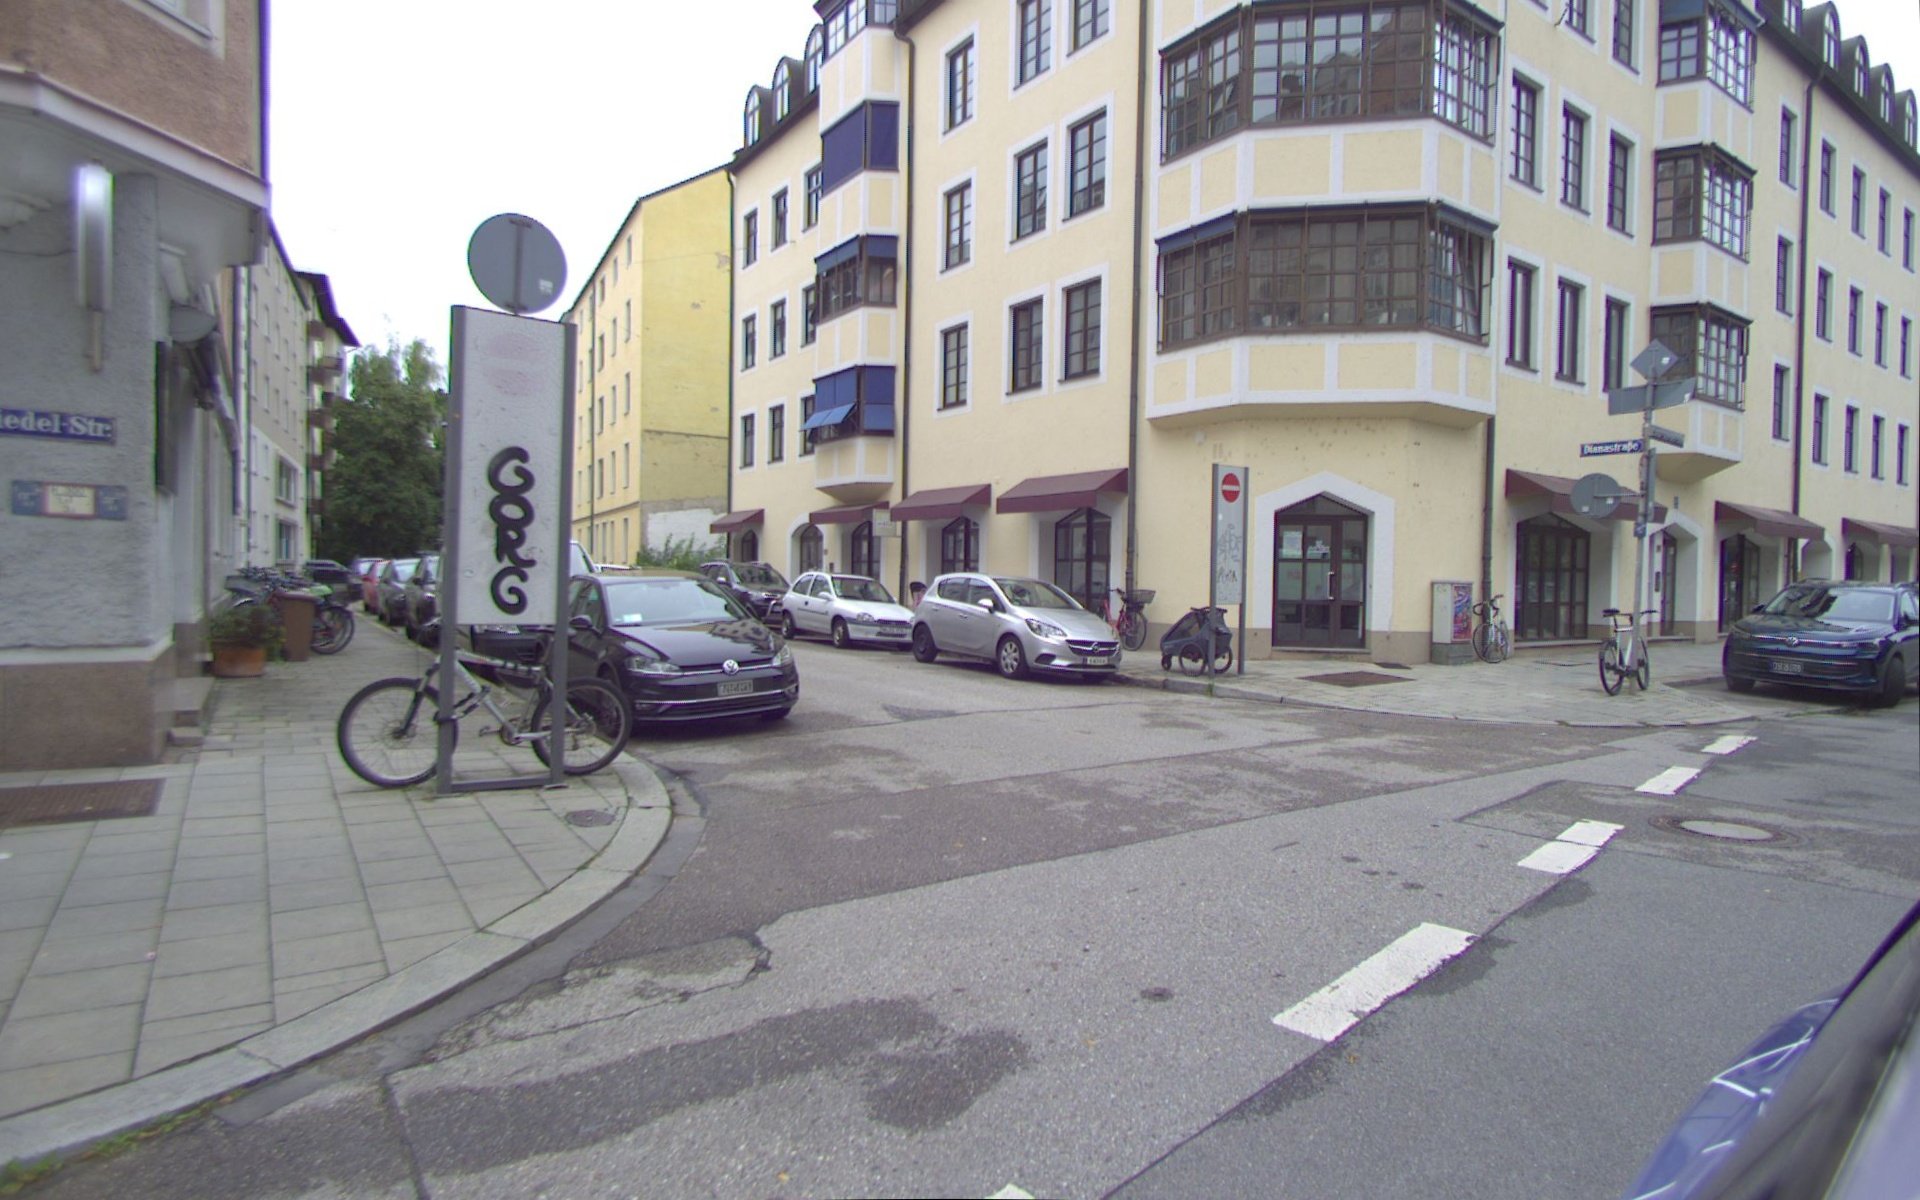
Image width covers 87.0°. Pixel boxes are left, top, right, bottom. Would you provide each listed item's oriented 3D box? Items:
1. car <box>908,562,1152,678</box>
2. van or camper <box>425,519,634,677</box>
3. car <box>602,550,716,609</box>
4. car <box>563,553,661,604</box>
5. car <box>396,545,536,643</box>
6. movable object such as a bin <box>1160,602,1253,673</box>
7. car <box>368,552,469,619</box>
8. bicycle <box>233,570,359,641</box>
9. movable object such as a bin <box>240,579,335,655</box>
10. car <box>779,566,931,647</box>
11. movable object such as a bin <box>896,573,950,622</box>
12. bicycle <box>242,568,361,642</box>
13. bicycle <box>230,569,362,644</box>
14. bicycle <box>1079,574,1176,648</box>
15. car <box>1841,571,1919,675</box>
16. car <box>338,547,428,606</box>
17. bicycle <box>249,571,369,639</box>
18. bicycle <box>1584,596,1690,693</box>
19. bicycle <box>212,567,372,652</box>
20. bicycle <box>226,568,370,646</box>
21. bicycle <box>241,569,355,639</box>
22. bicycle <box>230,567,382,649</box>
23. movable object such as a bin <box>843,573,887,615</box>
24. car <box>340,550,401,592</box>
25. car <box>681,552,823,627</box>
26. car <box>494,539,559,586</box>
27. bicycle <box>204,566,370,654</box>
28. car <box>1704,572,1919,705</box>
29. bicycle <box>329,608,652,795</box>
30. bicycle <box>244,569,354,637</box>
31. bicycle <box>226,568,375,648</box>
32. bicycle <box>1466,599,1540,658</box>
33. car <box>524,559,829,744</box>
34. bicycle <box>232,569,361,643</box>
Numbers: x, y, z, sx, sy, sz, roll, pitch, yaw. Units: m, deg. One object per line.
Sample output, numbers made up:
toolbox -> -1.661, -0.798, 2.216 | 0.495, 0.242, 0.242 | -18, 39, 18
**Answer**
car -> 0.914, 0.234, 15.166 | 1.717, 1.458, 3.751 | 3, 1, -32
van or camper -> -6.554, -0.147, 15.045 | 1.924, 1.942, 4.918 | -2, 3, -34
car -> -8.904, -0.624, 29.699 | 1.941, 1.587, 4.432 | 0, 2, -35
car -> -11.592, -0.740, 33.533 | 1.941, 1.587, 4.432 | 0, 2, -35
car -> -9.604, -0.207, 19.521 | 1.940, 1.664, 4.000 | -1, 3, -33
movable object such as a bin -> 3.505, 0.512, 14.441 | 0.671, 0.911, 1.127 | 0, 3, -35
car -> -13.816, -0.394, 25.683 | 1.940, 1.522, 4.673 | 0, 1, -32
bicycle -> -11.327, 0.071, 17.313 | 0.415, 1.157, 1.776 | 2, 2, 37
movable object such as a bin -> -9.099, 0.222, 13.686 | 0.952, 0.962, 0.733 | 1, 2, -43
car -> -2.140, 0.065, 19.795 | 1.607, 1.353, 3.460 | -1, 3, -32
movable object such as a bin -> -0.872, -0.064, 23.750 | 0.753, 1.094, 1.127 | 0, 2, -35
bicycle -> -11.919, 0.058, 18.365 | 0.415, 1.275, 1.776 | 2, 2, 37
bicycle -> -10.819, 0.080, 16.544 | 0.415, 1.157, 1.776 | 2, 2, 37
bicycle -> 2.958, 0.168, 18.045 | 0.505, 1.201, 1.907 | 0, 2, -35
car -> 17.324, 0.389, 17.587 | 4.082, 1.607, 1.822 | -1, 6, -32
car -> -17.260, -0.747, 30.170 | 1.941, 1.587, 4.673 | -1, 3, -34
bicycle -> -11.545, 0.062, 17.997 | 0.415, 1.157, 1.776 | 2, 2, 37
bicycle -> 9.051, 0.556, 13.495 | 2.014, 1.173, 0.431 | -1, 3, -35
bicycle -> -9.666, 0.102, 14.719 | 0.472, 1.157, 1.903 | 2, 2, 37
bicycle -> -10.474, 0.085, 16.081 | 0.415, 1.157, 1.903 | 2, 2, 37
bicycle -> -12.543, 0.048, 19.216 | 0.415, 1.275, 1.776 | 2, 2, 37
bicycle -> -9.850, 0.094, 15.313 | 0.415, 1.157, 1.903 | 2, 2, 37
movable object such as a bin -> -2.453, -0.154, 26.022 | 0.671, 1.026, 1.127 | 0, 2, -35
car -> -23.958, -1.209, 41.056 | 1.940, 1.587, 4.674 | 0, 3, -33
car -> -4.999, -0.315, 23.918 | 1.946, 1.603, 4.032 | -1, 2, -33
car -> -19.353, -1.666, 45.080 | 2.025, 2.003, 4.436 | 0, 2, -32
bicycle -> -9.403, 0.108, 14.221 | 0.472, 1.157, 1.903 | 2, 2, 37
car -> 12.991, 0.447, 14.811 | 4.412, 1.642, 2.113 | 0, 2, -36
bicycle -> -2.922, 0.591, 6.390 | 1.768, 1.017, 0.497 | 1, 3, -34
bicycle -> -12.922, 0.040, 19.844 | 0.415, 1.275, 1.776 | 2, 2, 37
bicycle -> -10.148, 0.090, 15.642 | 0.415, 1.157, 1.903 | 2, 2, 37
bicycle -> 9.127, 0.465, 16.992 | 1.662, 0.912, 0.263 | -1, 6, -34
car -> -3.089, 0.351, 10.450 | 1.856, 1.506, 3.886 | -1, 2, -35
bicycle -> -11.041, 0.076, 16.901 | 0.415, 1.157, 1.776 | 2, 2, 37
